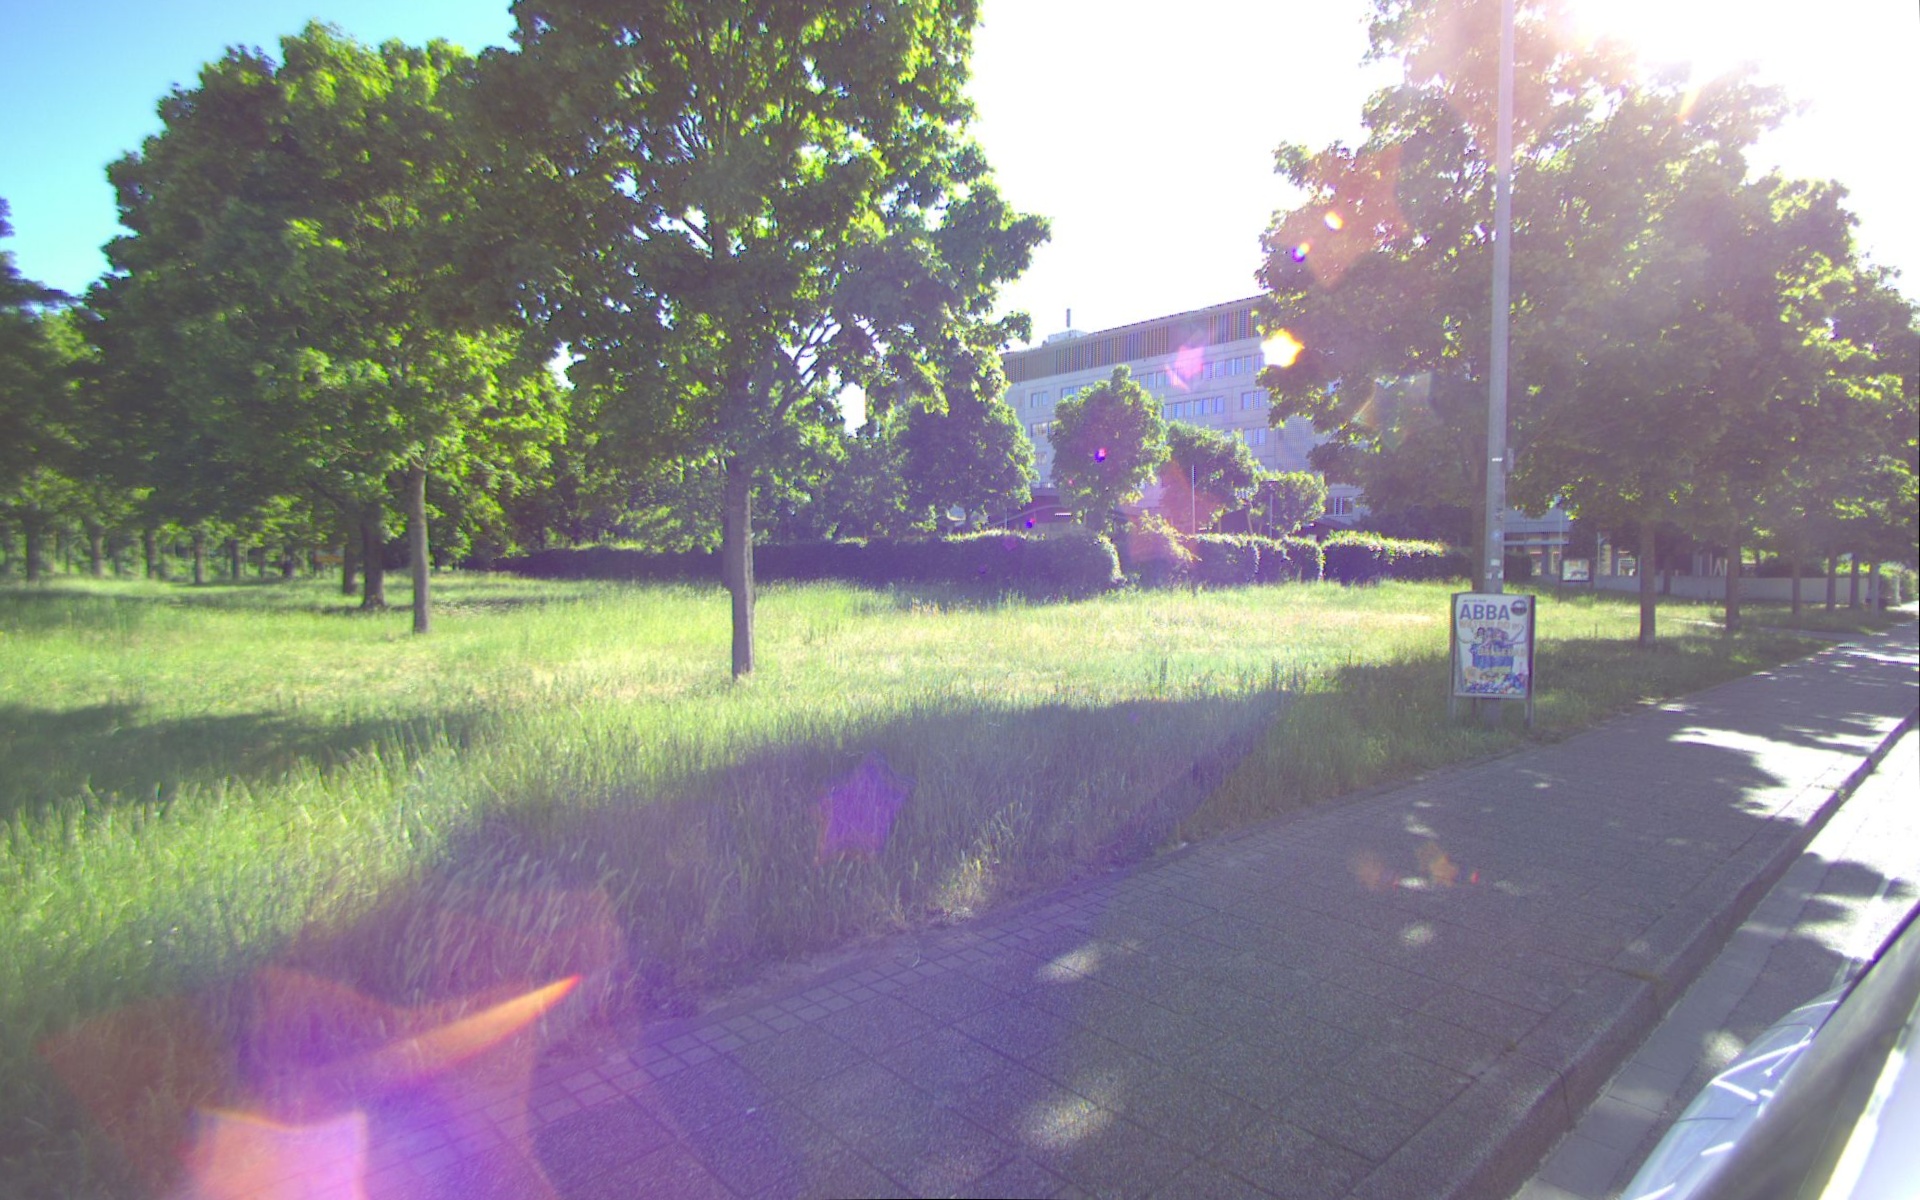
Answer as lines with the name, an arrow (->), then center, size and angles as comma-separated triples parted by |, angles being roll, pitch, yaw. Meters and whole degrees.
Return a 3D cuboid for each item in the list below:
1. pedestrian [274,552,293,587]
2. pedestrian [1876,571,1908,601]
pedestrian -> -34.385, -1.568, 51.413 | 0.726, 1.748, 0.888 | 0, 1, -38
pedestrian -> 39.316, -0.587, 42.712 | 0.842, 1.232, 0.719 | 3, 3, 36
